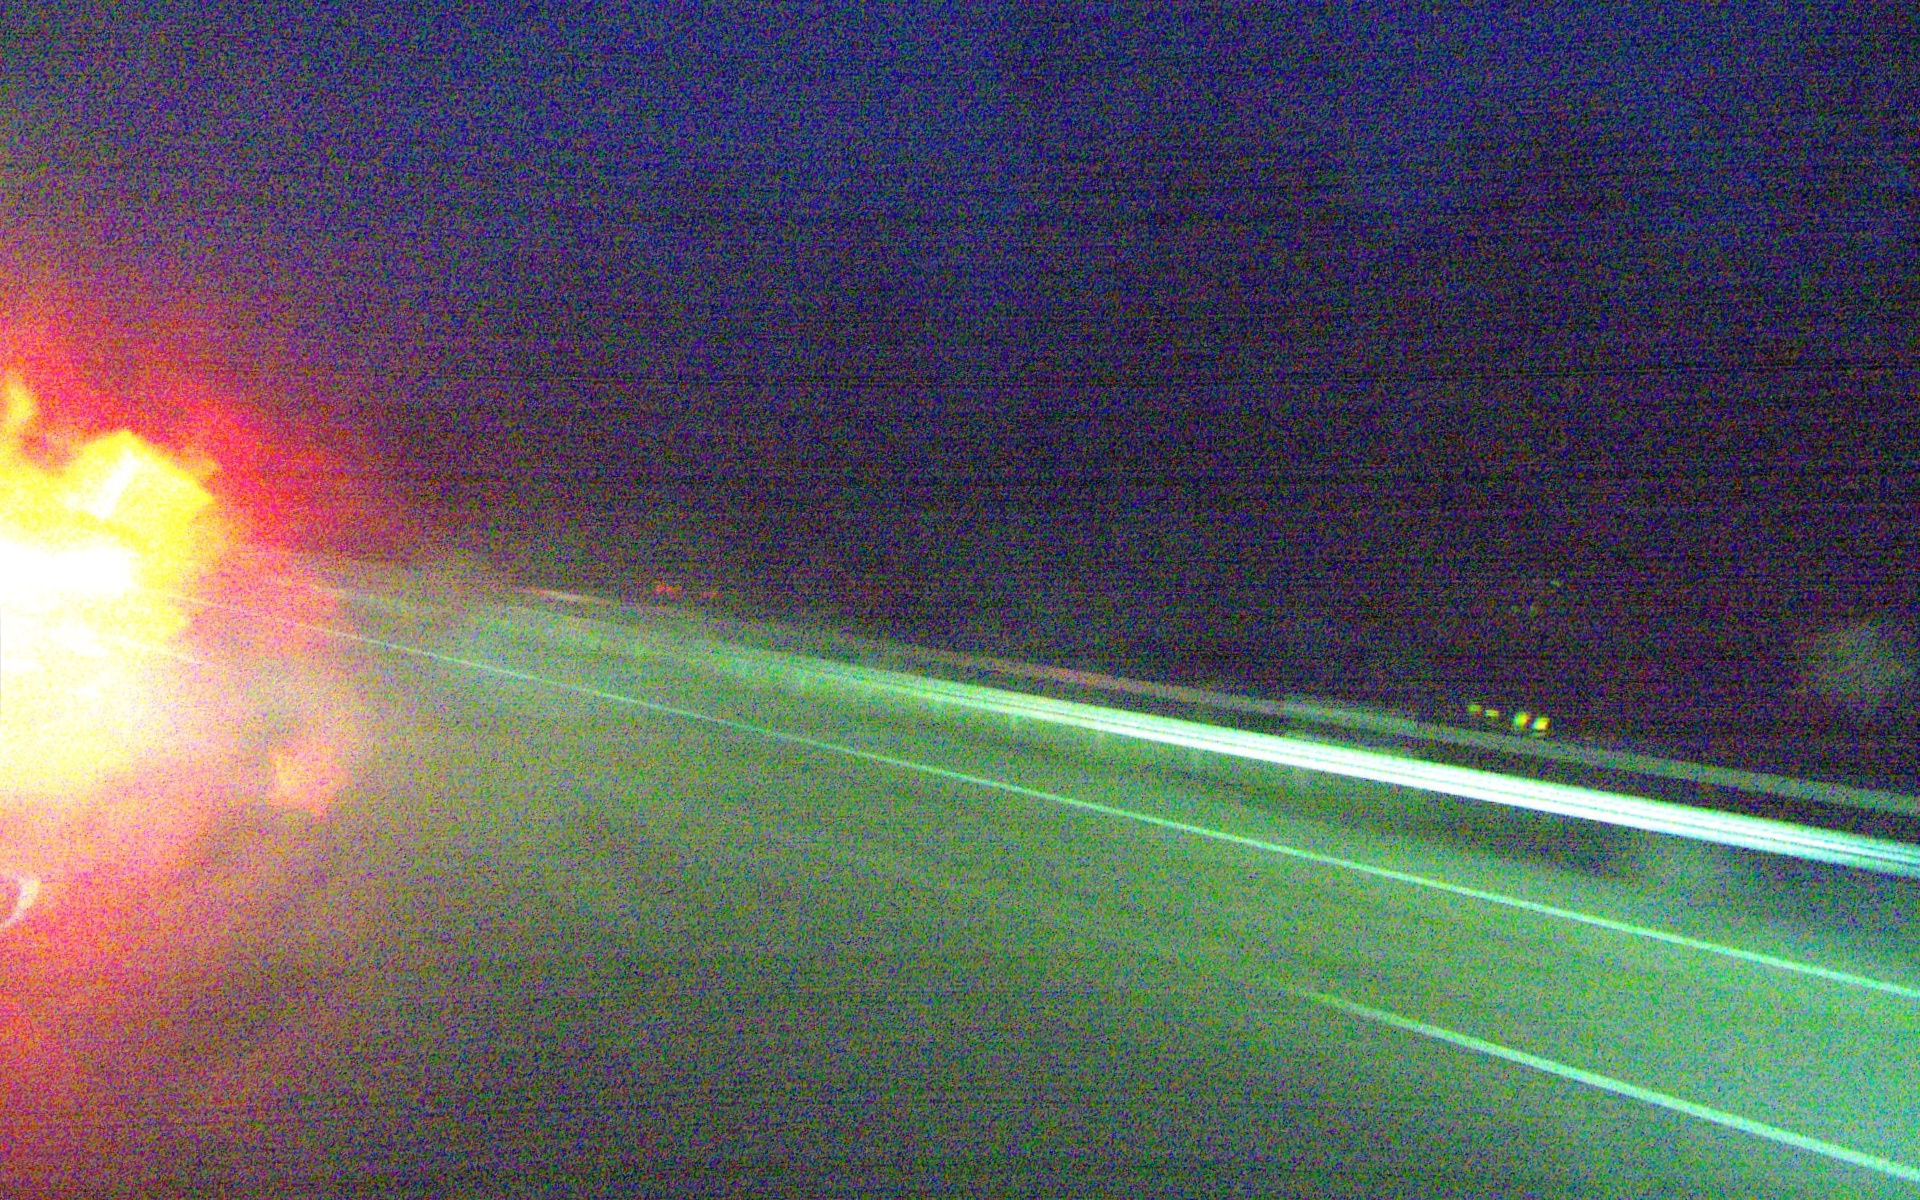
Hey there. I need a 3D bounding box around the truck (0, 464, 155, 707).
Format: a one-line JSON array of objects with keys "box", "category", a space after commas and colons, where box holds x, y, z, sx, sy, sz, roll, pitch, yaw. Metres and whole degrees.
[{"box": [-8.900, -0.338, 8.344, 4.774, 1.716, 1.847, 7, -2, 32], "category": "truck"}]
